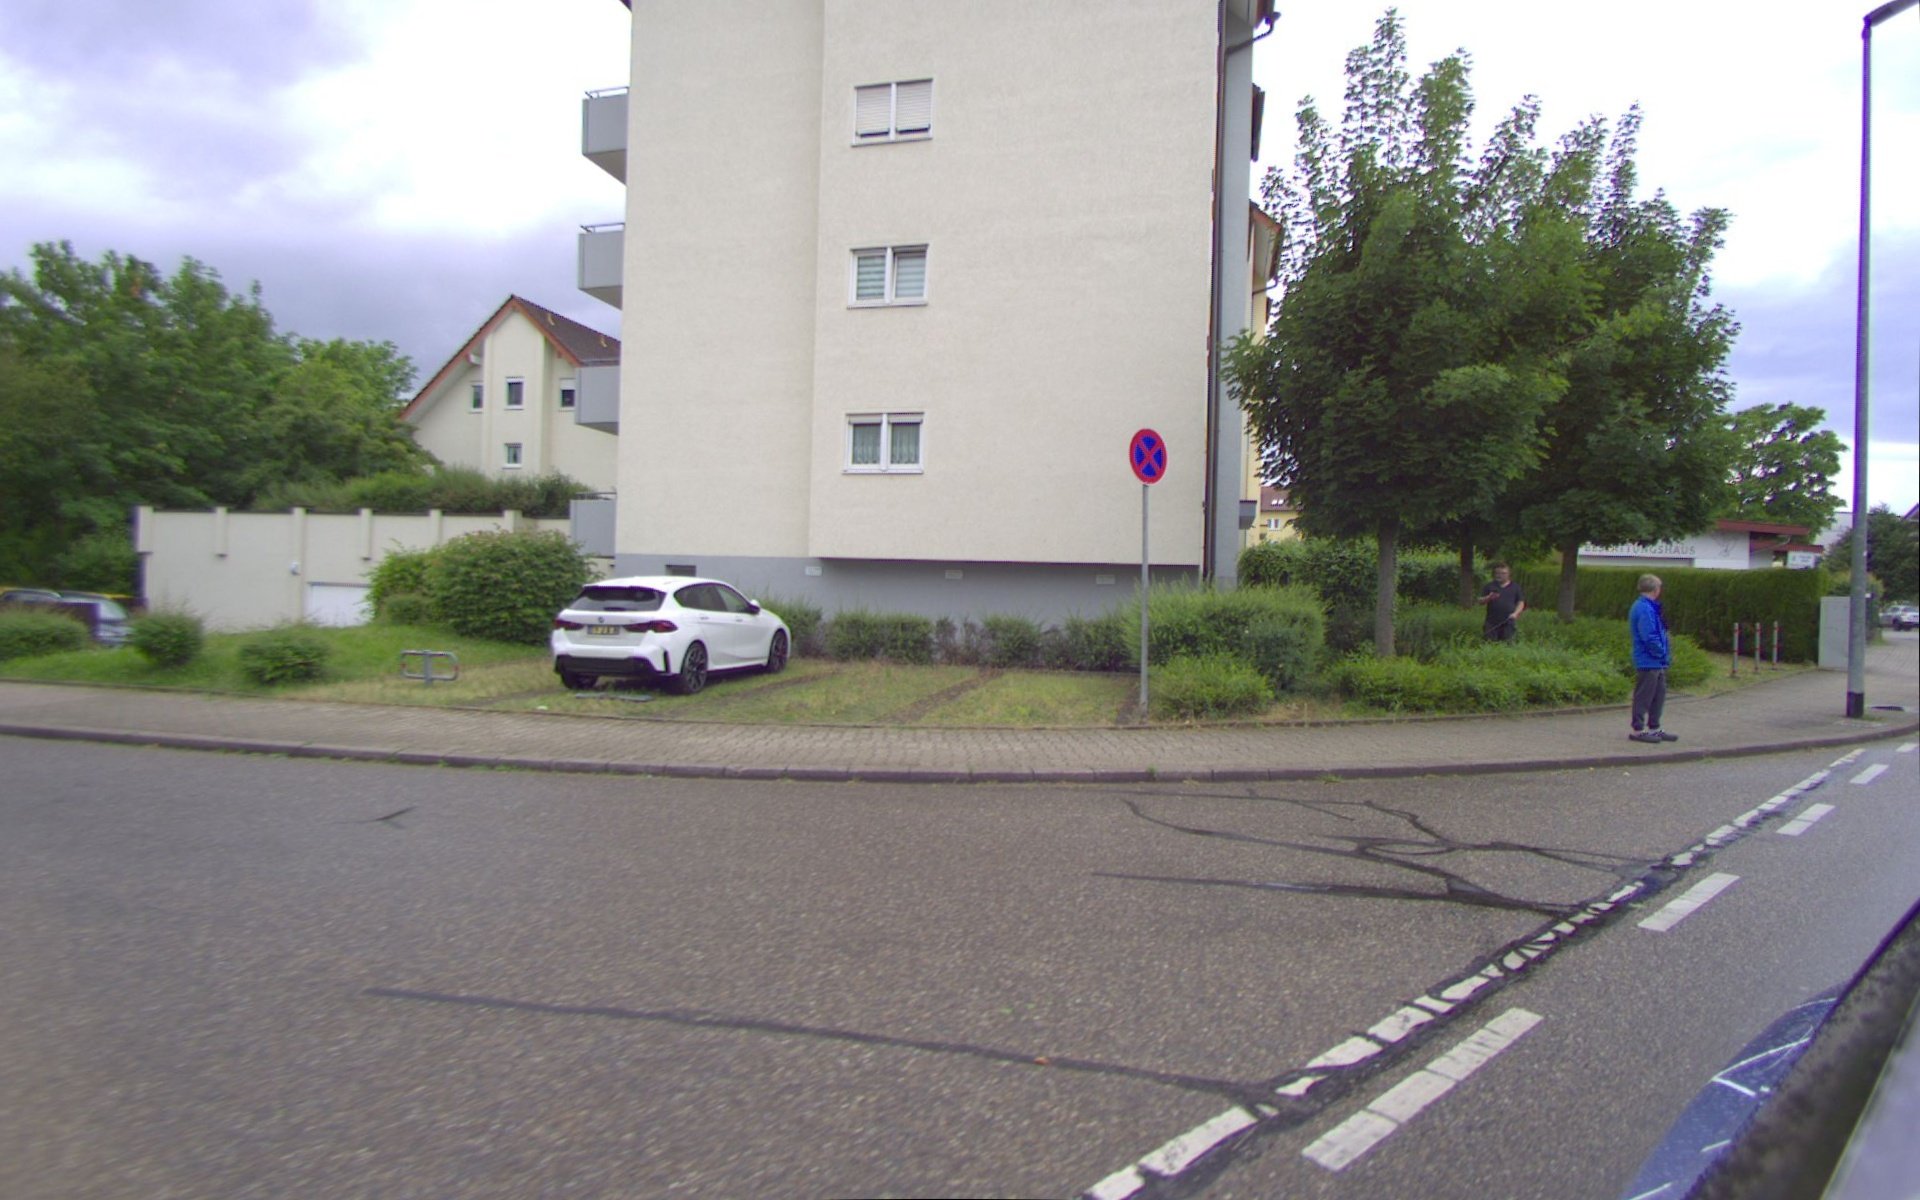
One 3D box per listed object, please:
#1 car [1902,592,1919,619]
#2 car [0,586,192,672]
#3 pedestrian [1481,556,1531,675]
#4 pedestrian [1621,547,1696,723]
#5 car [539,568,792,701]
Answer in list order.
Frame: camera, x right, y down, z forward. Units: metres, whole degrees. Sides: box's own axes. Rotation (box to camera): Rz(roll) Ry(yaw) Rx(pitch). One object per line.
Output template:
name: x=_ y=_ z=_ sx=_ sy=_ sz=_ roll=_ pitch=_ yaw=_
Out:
car: x=58.528 y=0.351 z=61.314 sx=1.660 sy=1.544 sz=3.946 roll=3 pitch=1 yaw=37
car: x=-21.381 y=0.631 z=24.489 sx=4.862 sy=1.846 sz=1.991 roll=1 pitch=1 yaw=17
pedestrian: x=8.466 y=0.226 z=15.684 sx=0.611 sy=1.795 sz=0.663 roll=1 pitch=0 yaw=34
pedestrian: x=7.034 y=0.332 z=10.211 sx=0.587 sy=1.687 sz=0.766 roll=0 pitch=0 yaw=33
car: x=-3.818 y=0.362 z=13.817 sx=1.720 sy=1.499 sz=3.755 roll=2 pitch=1 yaw=12
